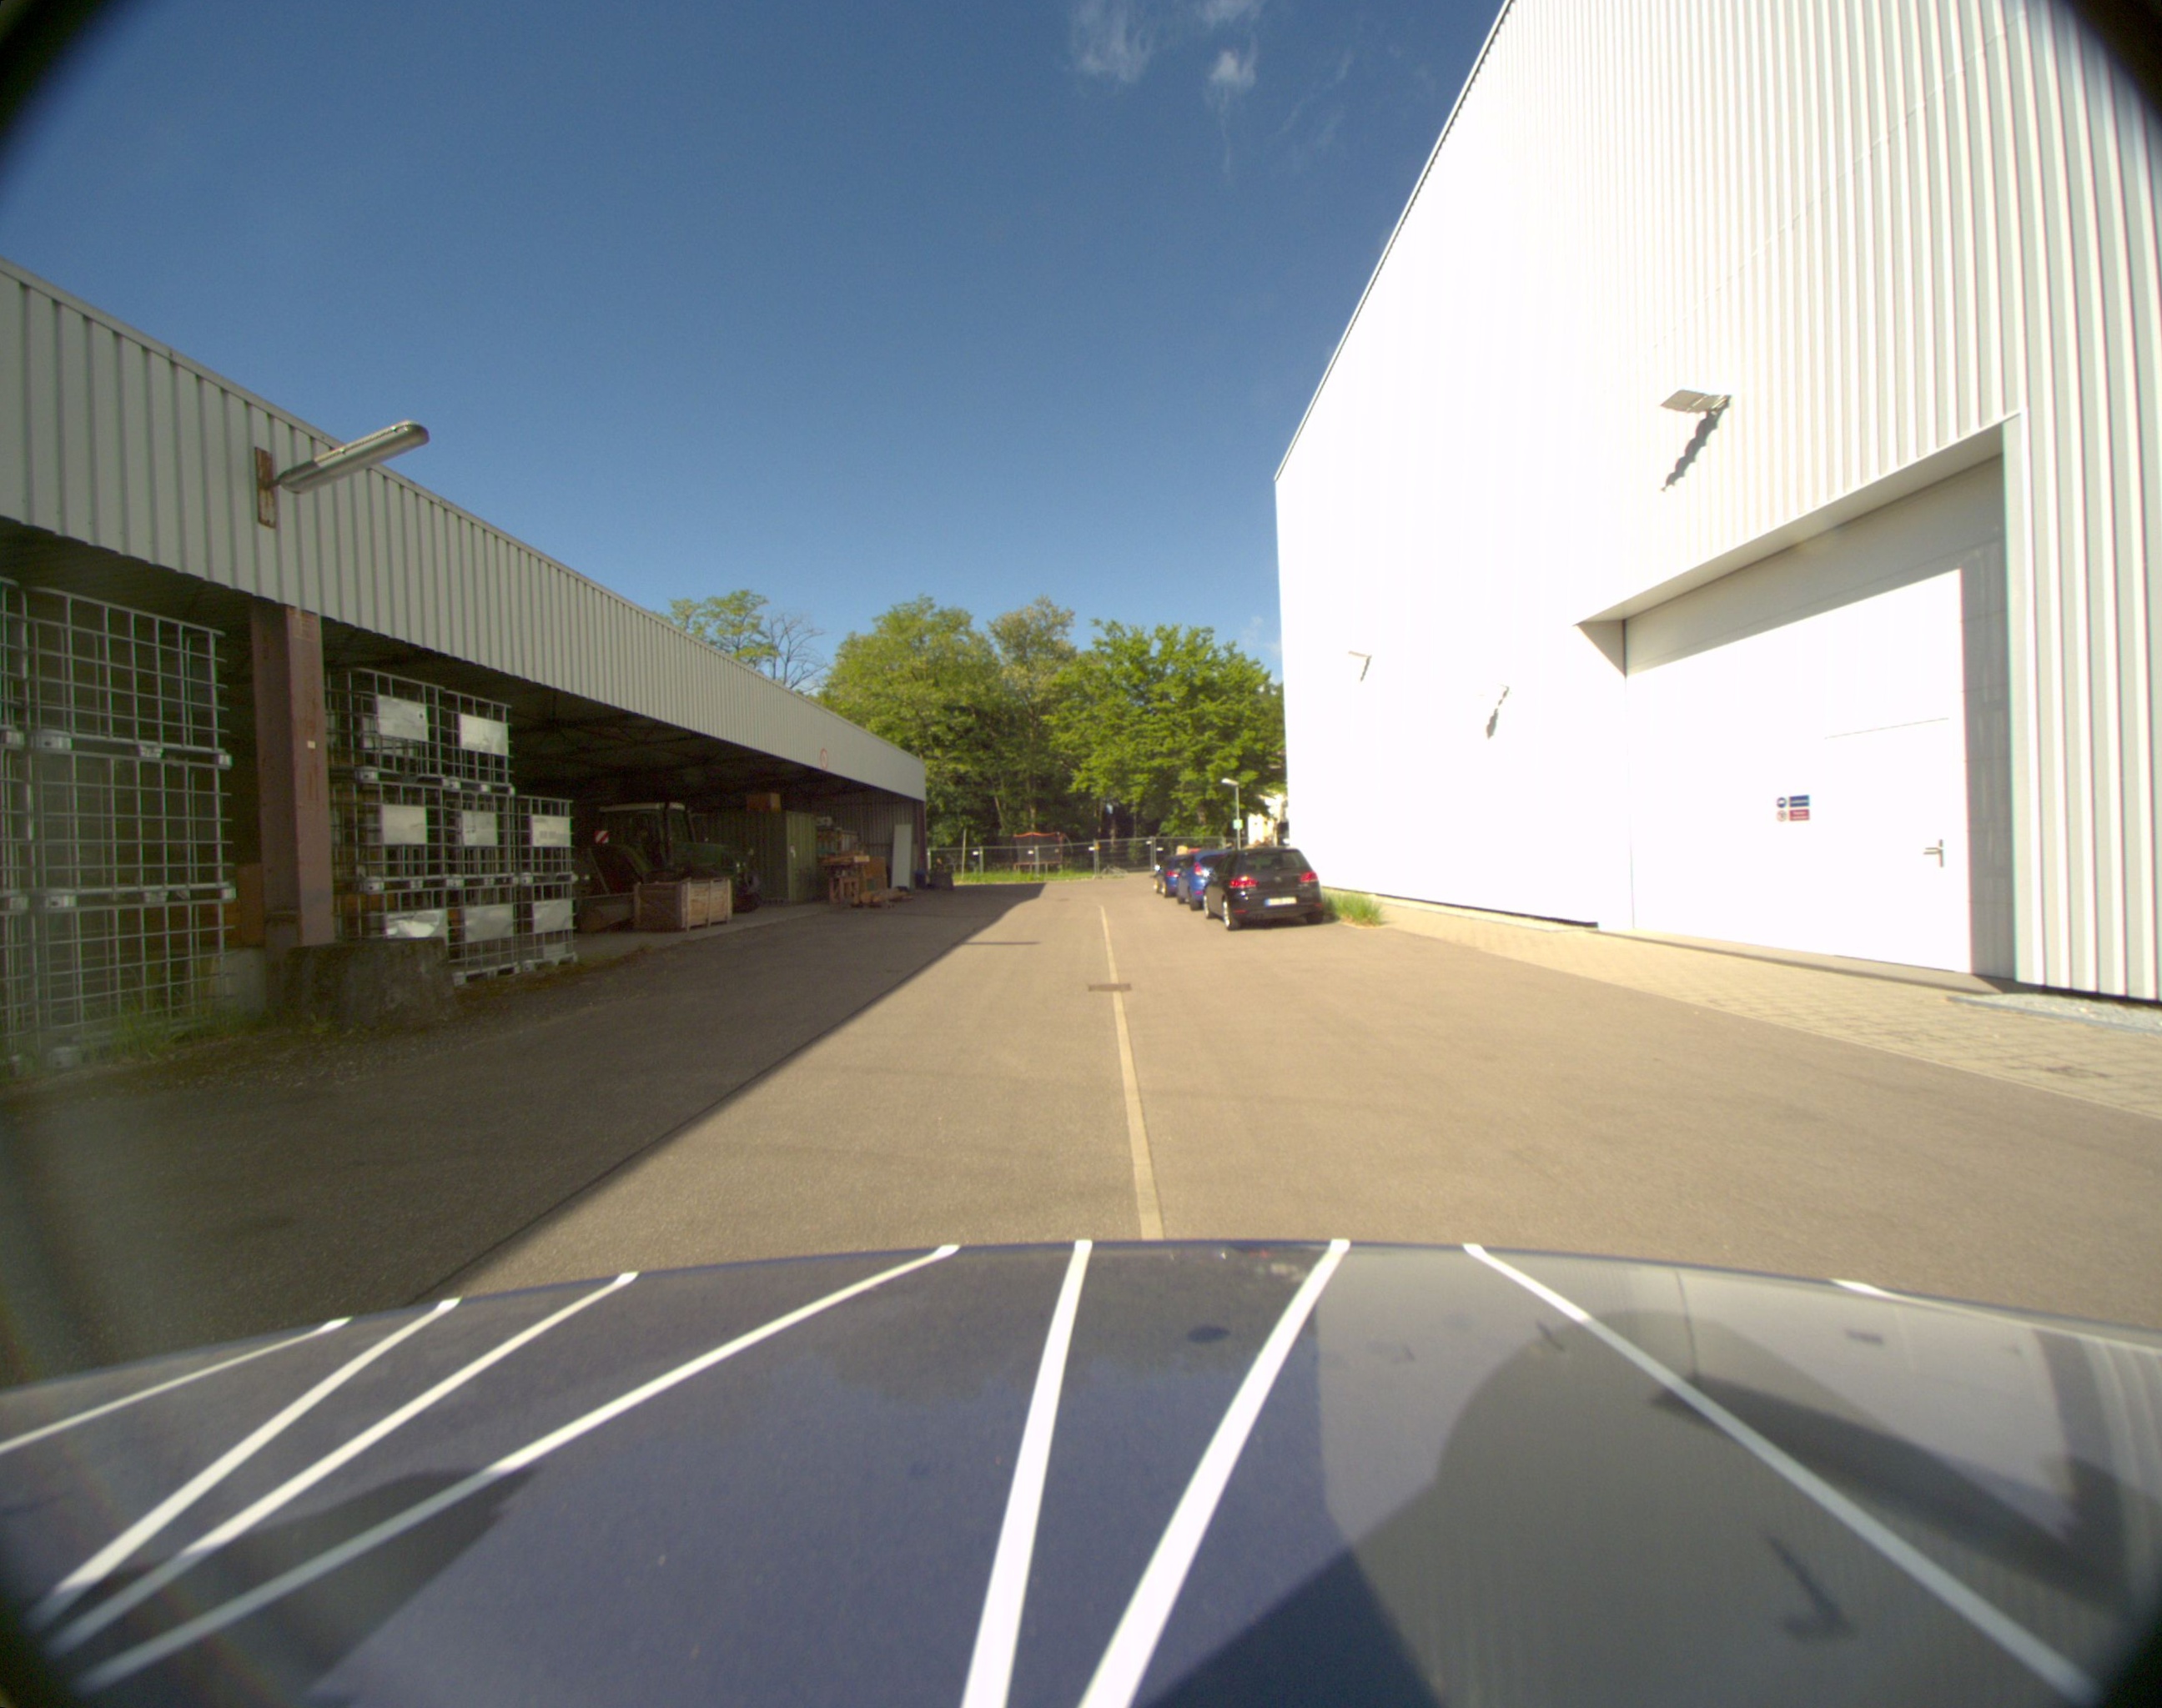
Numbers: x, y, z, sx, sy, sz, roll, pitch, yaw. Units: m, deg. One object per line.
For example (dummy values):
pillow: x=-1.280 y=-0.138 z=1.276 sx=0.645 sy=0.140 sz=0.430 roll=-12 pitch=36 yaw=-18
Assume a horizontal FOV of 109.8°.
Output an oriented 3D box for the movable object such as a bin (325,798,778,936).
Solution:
movable object such as a bin: x=-12.989 y=0.305 z=19.287 sx=9.214 sy=2.893 sz=3.212 roll=-2 pitch=1 yaw=2

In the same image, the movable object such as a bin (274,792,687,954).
movable object such as a bin: x=-12.229 y=0.365 z=15.972 sx=6.200 sy=2.893 sz=3.016 roll=-2 pitch=1 yaw=2

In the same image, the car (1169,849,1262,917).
car: x=3.434 y=0.675 z=20.116 sx=1.635 sy=1.491 sz=4.094 roll=-5 pitch=0 yaw=0

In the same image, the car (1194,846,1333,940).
car: x=3.459 y=0.657 z=15.219 sx=1.759 sy=1.491 sz=4.294 roll=-4 pitch=0 yaw=1

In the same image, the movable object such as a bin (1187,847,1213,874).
movable object such as a bin: x=6.622 y=0.353 z=42.344 sx=1.093 sy=1.431 sz=1.230 roll=-4 pitch=2 yaw=-5

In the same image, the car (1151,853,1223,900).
car: x=3.472 y=0.696 z=25.564 sx=1.778 sy=1.353 sz=4.053 roll=-3 pitch=0 yaw=0

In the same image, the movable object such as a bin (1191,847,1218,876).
movable object such as a bin: x=6.645 y=0.395 z=41.011 sx=1.093 sy=1.424 sz=1.230 roll=-4 pitch=2 yaw=-5

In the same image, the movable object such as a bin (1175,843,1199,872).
movable object such as a bin: x=6.166 y=0.213 z=44.243 sx=1.093 sy=1.588 sz=1.230 roll=-3 pitch=3 yaw=-5
